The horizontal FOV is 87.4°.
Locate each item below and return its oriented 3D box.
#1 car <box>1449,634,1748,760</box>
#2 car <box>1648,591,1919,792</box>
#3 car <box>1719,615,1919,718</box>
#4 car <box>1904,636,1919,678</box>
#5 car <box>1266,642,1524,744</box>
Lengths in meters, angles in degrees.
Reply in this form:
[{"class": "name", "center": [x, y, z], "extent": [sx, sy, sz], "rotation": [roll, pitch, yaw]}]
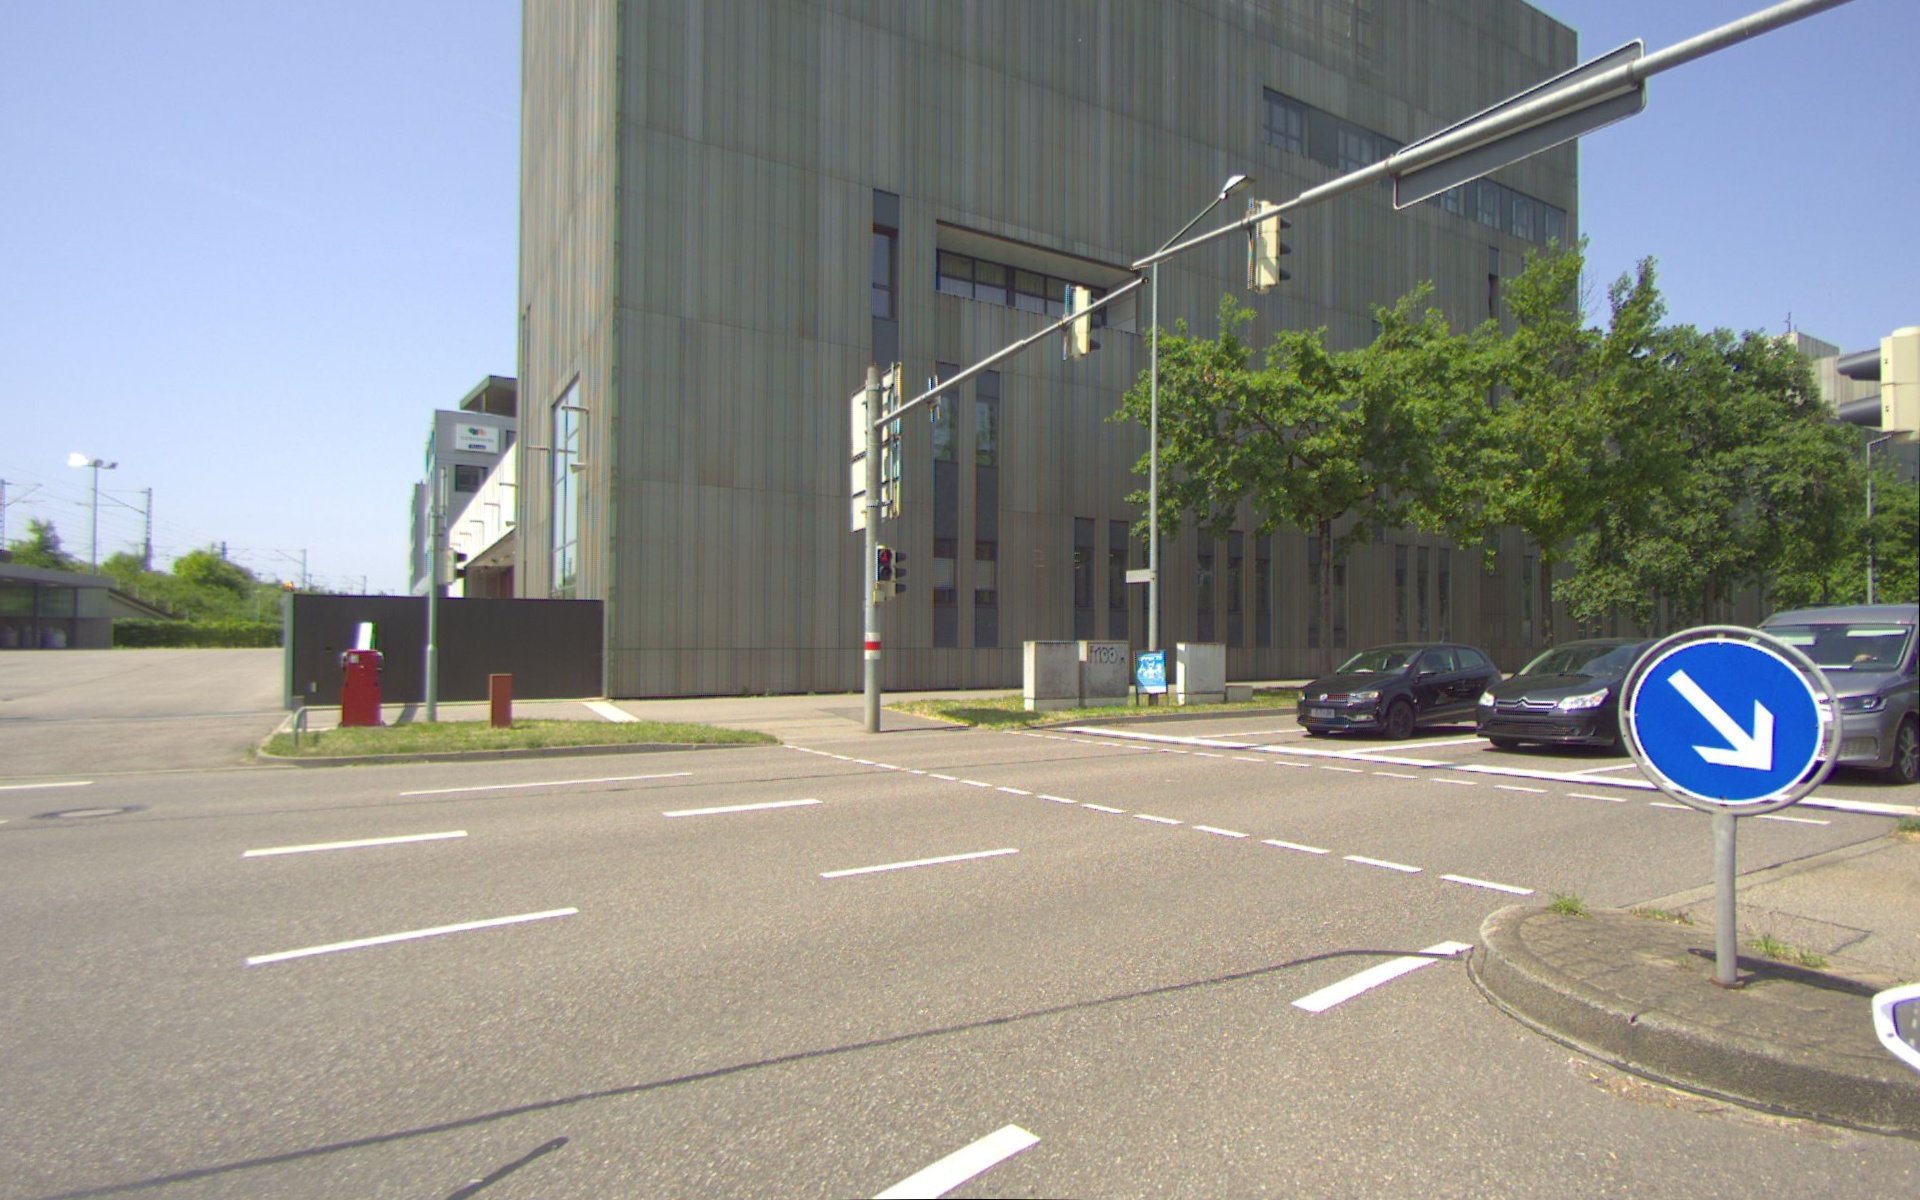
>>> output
[{"class": "car", "center": [8.676, 1.206, 13.570], "extent": [4.204, 1.465, 1.800], "rotation": [1, -3, -33]}, {"class": "car", "center": [9.804, 0.901, 11.085], "extent": [4.658, 1.824, 1.802], "rotation": [1, -3, -30]}, {"class": "car", "center": [16.142, 1.171, 18.457], "extent": [4.516, 1.685, 1.795], "rotation": [1, -3, -29]}, {"class": "car", "center": [38.282, 2.123, 38.655], "extent": [4.323, 1.563, 1.801], "rotation": [1, -5, -33]}, {"class": "car", "center": [7.075, 1.408, 16.238], "extent": [4.204, 1.435, 1.800], "rotation": [1, -3, -33]}]
